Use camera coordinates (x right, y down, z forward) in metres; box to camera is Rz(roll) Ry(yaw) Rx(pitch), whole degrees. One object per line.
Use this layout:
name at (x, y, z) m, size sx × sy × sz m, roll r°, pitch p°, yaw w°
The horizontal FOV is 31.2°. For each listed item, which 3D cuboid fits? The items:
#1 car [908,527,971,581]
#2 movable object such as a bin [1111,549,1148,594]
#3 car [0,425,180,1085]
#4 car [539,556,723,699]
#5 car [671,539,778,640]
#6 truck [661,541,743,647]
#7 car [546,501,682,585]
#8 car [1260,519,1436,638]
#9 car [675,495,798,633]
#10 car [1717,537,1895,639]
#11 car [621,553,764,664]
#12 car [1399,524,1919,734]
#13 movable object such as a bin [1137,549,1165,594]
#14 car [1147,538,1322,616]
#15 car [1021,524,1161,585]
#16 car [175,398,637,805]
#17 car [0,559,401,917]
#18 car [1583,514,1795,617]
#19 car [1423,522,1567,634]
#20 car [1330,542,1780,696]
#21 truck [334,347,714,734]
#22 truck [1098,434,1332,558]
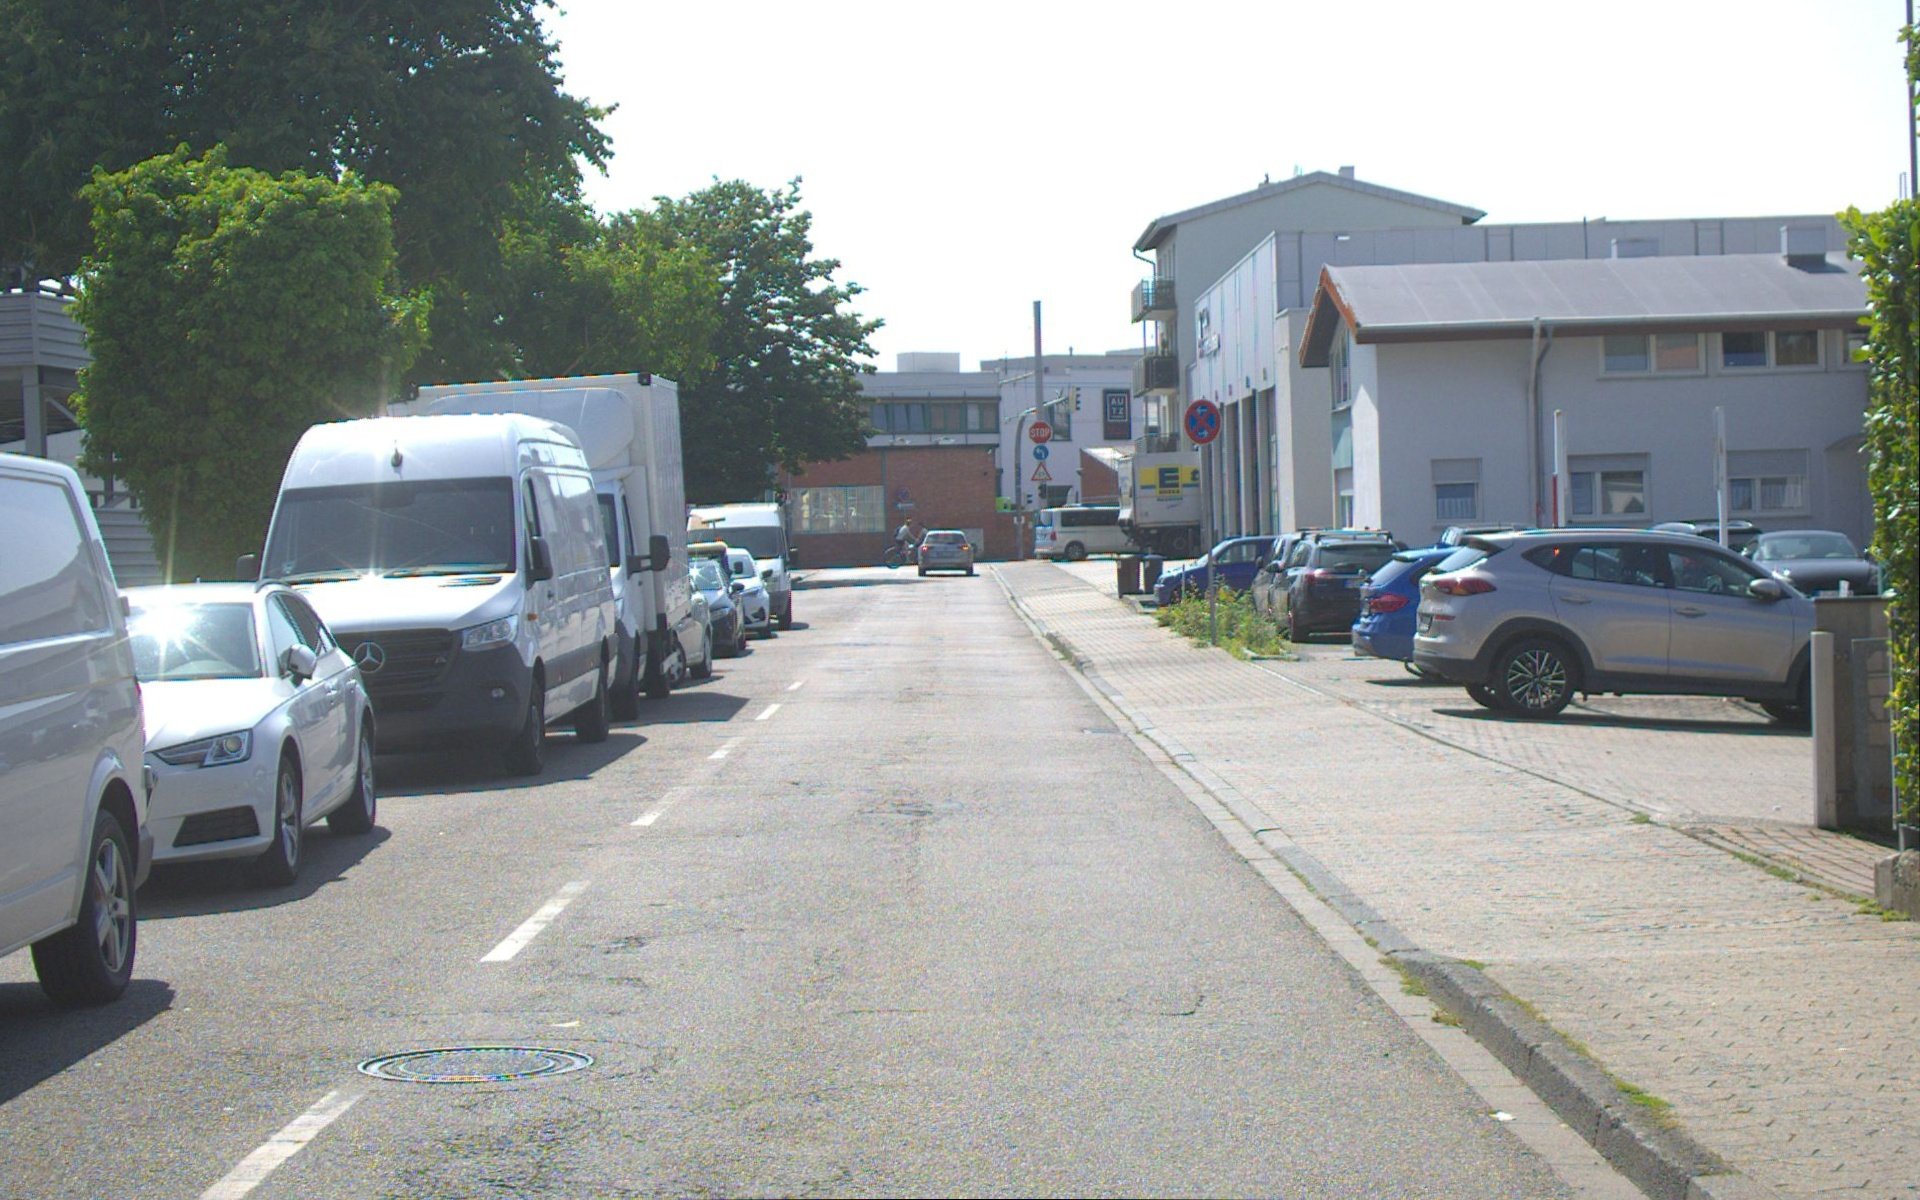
car at (-0.689, -1.506, 112.982) m, size 1.890 × 1.679 × 3.958 m, roll 2°, pitch 0°, yaw -3°
movable object such as a bin at (3.664, -0.626, 74.419) m, size 0.568 × 0.943 × 0.556 m, roll -1°, pitch 2°, yaw 33°
car at (-3.933, 0.516, 10.209) m, size 1.971 × 2.007 × 5.056 m, roll -3°, pitch 1°, yaw 0°
car at (-3.827, 0.277, 40.621) m, size 1.741 × 1.516 × 4.310 m, roll -2°, pitch 1°, yaw 0°
car at (-4.135, -0.207, 59.945) m, size 1.704 × 1.618 × 3.974 m, roll -3°, pitch 1°, yaw -5°
truck at (-4.202, -0.121, 56.337) m, size 1.138 × 1.616 × 3.142 m, roll -4°, pitch 1°, yaw -2°
car at (-10.838, -1.801, 107.872) m, size 4.085 × 2.504 × 1.777 m, roll -2°, pitch 1°, yaw -2°
car at (5.502, -0.346, 49.290) m, size 1.858 × 1.562 × 4.952 m, roll -2°, pitch 1°, yaw -1°
car at (-4.191, -0.712, 65.115) m, size 2.005 × 2.358 × 5.230 m, roll -4°, pitch 1°, yaw -2°
car at (11.935, -0.196, 48.714) m, size 1.642 × 1.320 × 4.100 m, roll -2°, pitch 1°, yaw 2°
car at (-3.887, 0.093, 50.556) m, size 1.704 × 1.458 × 4.114 m, roll -3°, pitch 1°, yaw 0°
car at (6.089, 0.234, 30.128) m, size 4.201 × 1.676 × 1.767 m, roll 2°, pitch 1°, yaw -1°
movable object such as a bin at (4.157, -0.623, 74.828) m, size 0.514 × 0.943 × 0.487 m, roll -2°, pitch 1°, yaw 11°
car at (5.314, -0.453, 66.814) m, size 3.253 × 1.394 × 1.673 m, roll -2°, pitch 1°, yaw 1°
car at (4.794, -1.673, 126.230) m, size 4.653 × 1.951 × 1.917 m, roll -3°, pitch 0°, yaw -19°
car at (-3.992, -0.019, 26.217) m, size 2.168 × 2.587 × 6.920 m, roll -3°, pitch 0°, yaw 1°
car at (-4.045, 0.600, 17.488) m, size 1.714 × 1.538 × 4.401 m, roll -3°, pitch 1°, yaw -1°
car at (11.571, -0.555, 54.869) m, size 1.759 × 1.491 × 4.151 m, roll -3°, pitch 1°, yaw -11°
car at (8.099, -0.364, 52.312) m, size 1.760 × 1.589 × 3.619 m, roll 2°, pitch 2°, yaw 3°
car at (6.206, 0.178, 36.184) m, size 4.352 × 1.436 × 1.892 m, roll -2°, pitch 1°, yaw -1°
truck at (-4.152, -0.560, 34.283) m, size 2.685 × 3.355 × 7.130 m, roll -2°, pitch 0°, yaw 1°
truck at (8.715, -3.559, 117.953) m, size 7.358 × 3.633 × 2.768 m, roll -5°, pitch 2°, yaw -6°
